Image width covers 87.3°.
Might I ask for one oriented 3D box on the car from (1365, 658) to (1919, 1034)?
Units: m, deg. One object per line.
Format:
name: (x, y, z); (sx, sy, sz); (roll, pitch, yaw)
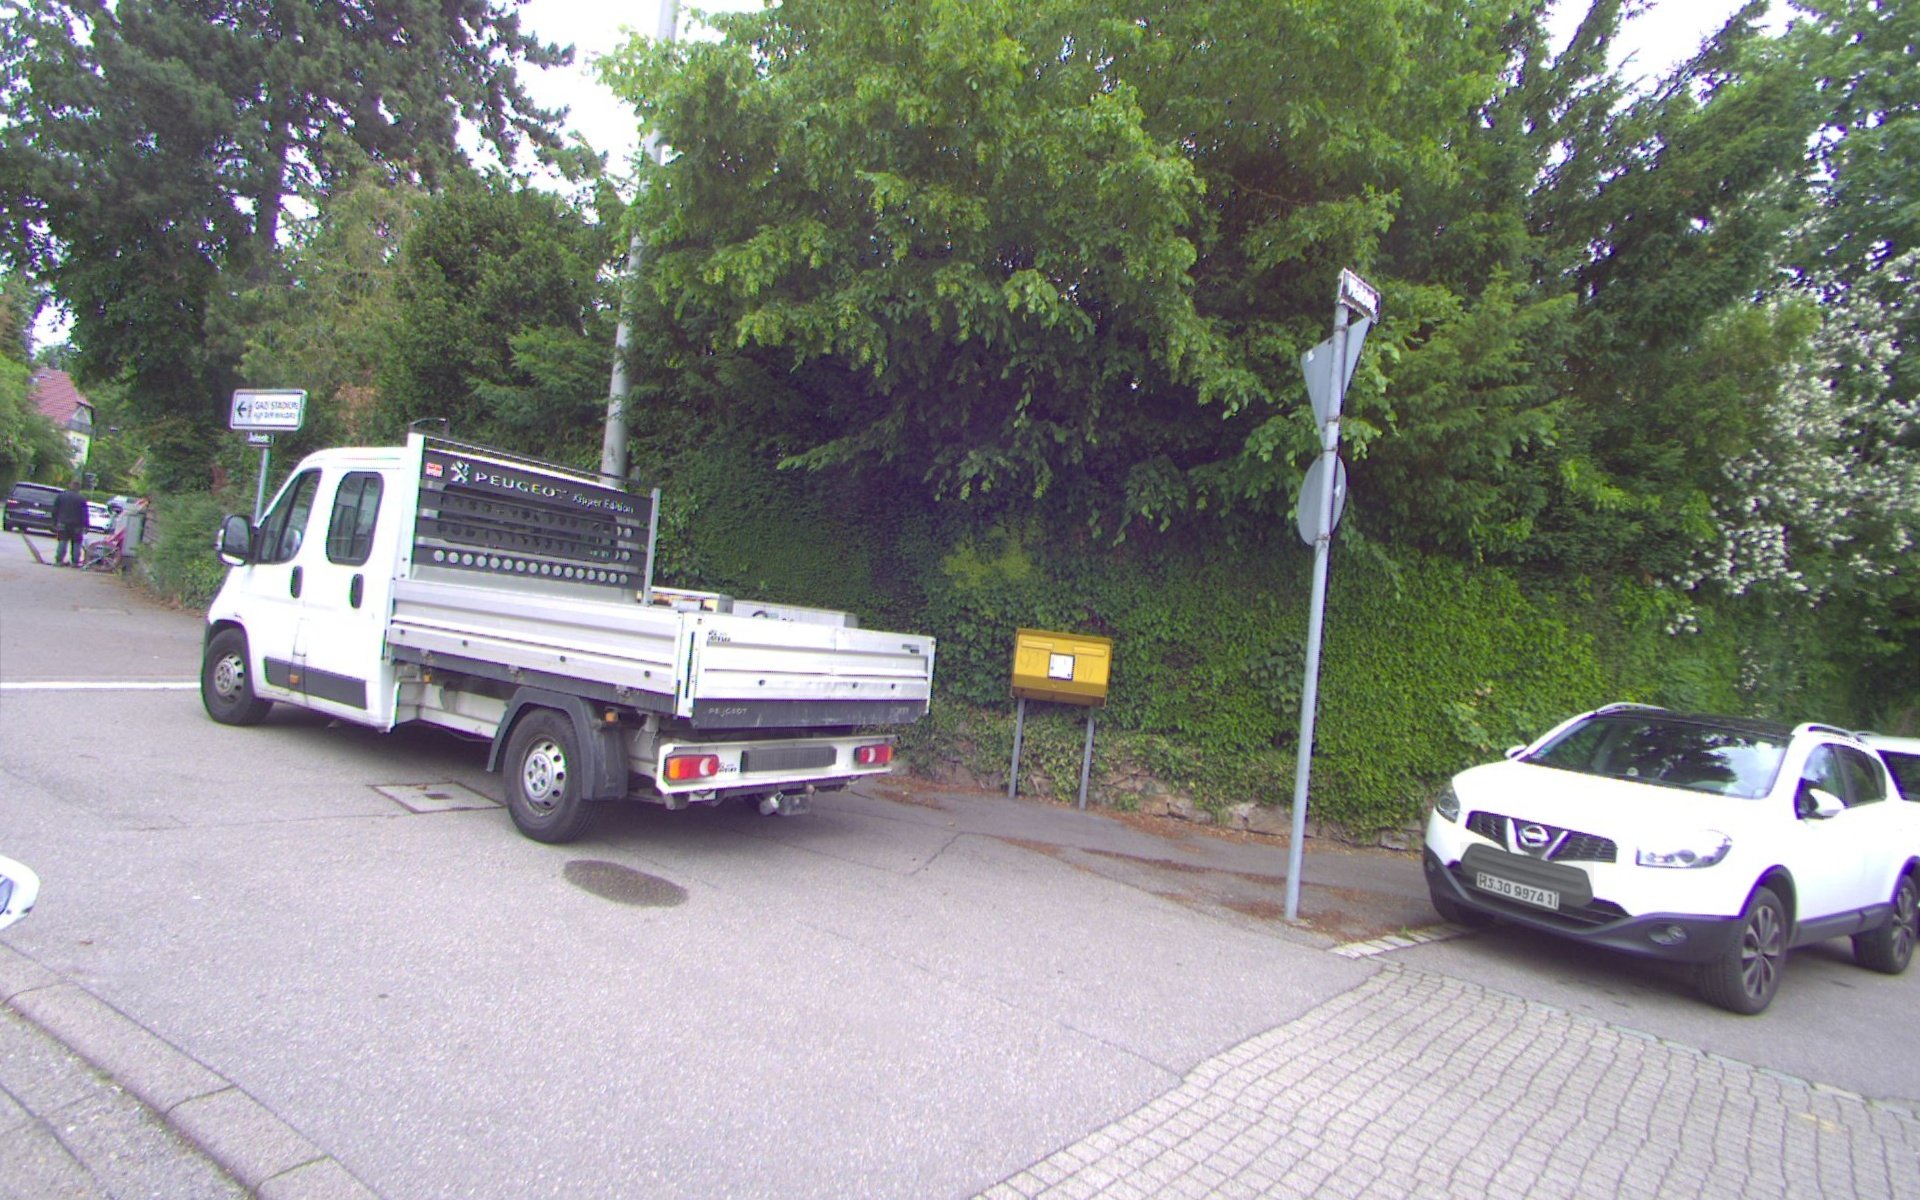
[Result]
car: (4.767, 1.469, 6.664); (4.098, 1.641, 1.783); (9, -2, -34)

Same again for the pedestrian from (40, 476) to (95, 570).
pedestrian: (-19.518, -1.682, 22.008); (0.549, 1.929, 0.597); (7, -1, 32)

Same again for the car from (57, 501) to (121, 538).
car: (-44.333, -4.065, 51.267); (1.832, 1.476, 4.040); (10, -2, -34)

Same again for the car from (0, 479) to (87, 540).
car: (-35.664, -3.479, 39.152); (1.910, 1.915, 4.859); (10, -2, -36)

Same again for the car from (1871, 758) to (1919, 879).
car: (13.906, 3.032, 13.503); (4.040, 1.440, 1.781); (8, -2, -38)

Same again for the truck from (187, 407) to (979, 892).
truck: (-2.933, 0.082, 7.168); (5.631, 2.270, 2.211); (6, -2, 34)

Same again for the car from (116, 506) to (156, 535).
car: (-64.847, -6.227, 79.245); (1.930, 1.846, 4.039); (10, -2, -35)

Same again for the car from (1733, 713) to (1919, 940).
car: (9.045, 2.115, 9.478); (4.041, 1.641, 1.780); (9, -3, -38)
